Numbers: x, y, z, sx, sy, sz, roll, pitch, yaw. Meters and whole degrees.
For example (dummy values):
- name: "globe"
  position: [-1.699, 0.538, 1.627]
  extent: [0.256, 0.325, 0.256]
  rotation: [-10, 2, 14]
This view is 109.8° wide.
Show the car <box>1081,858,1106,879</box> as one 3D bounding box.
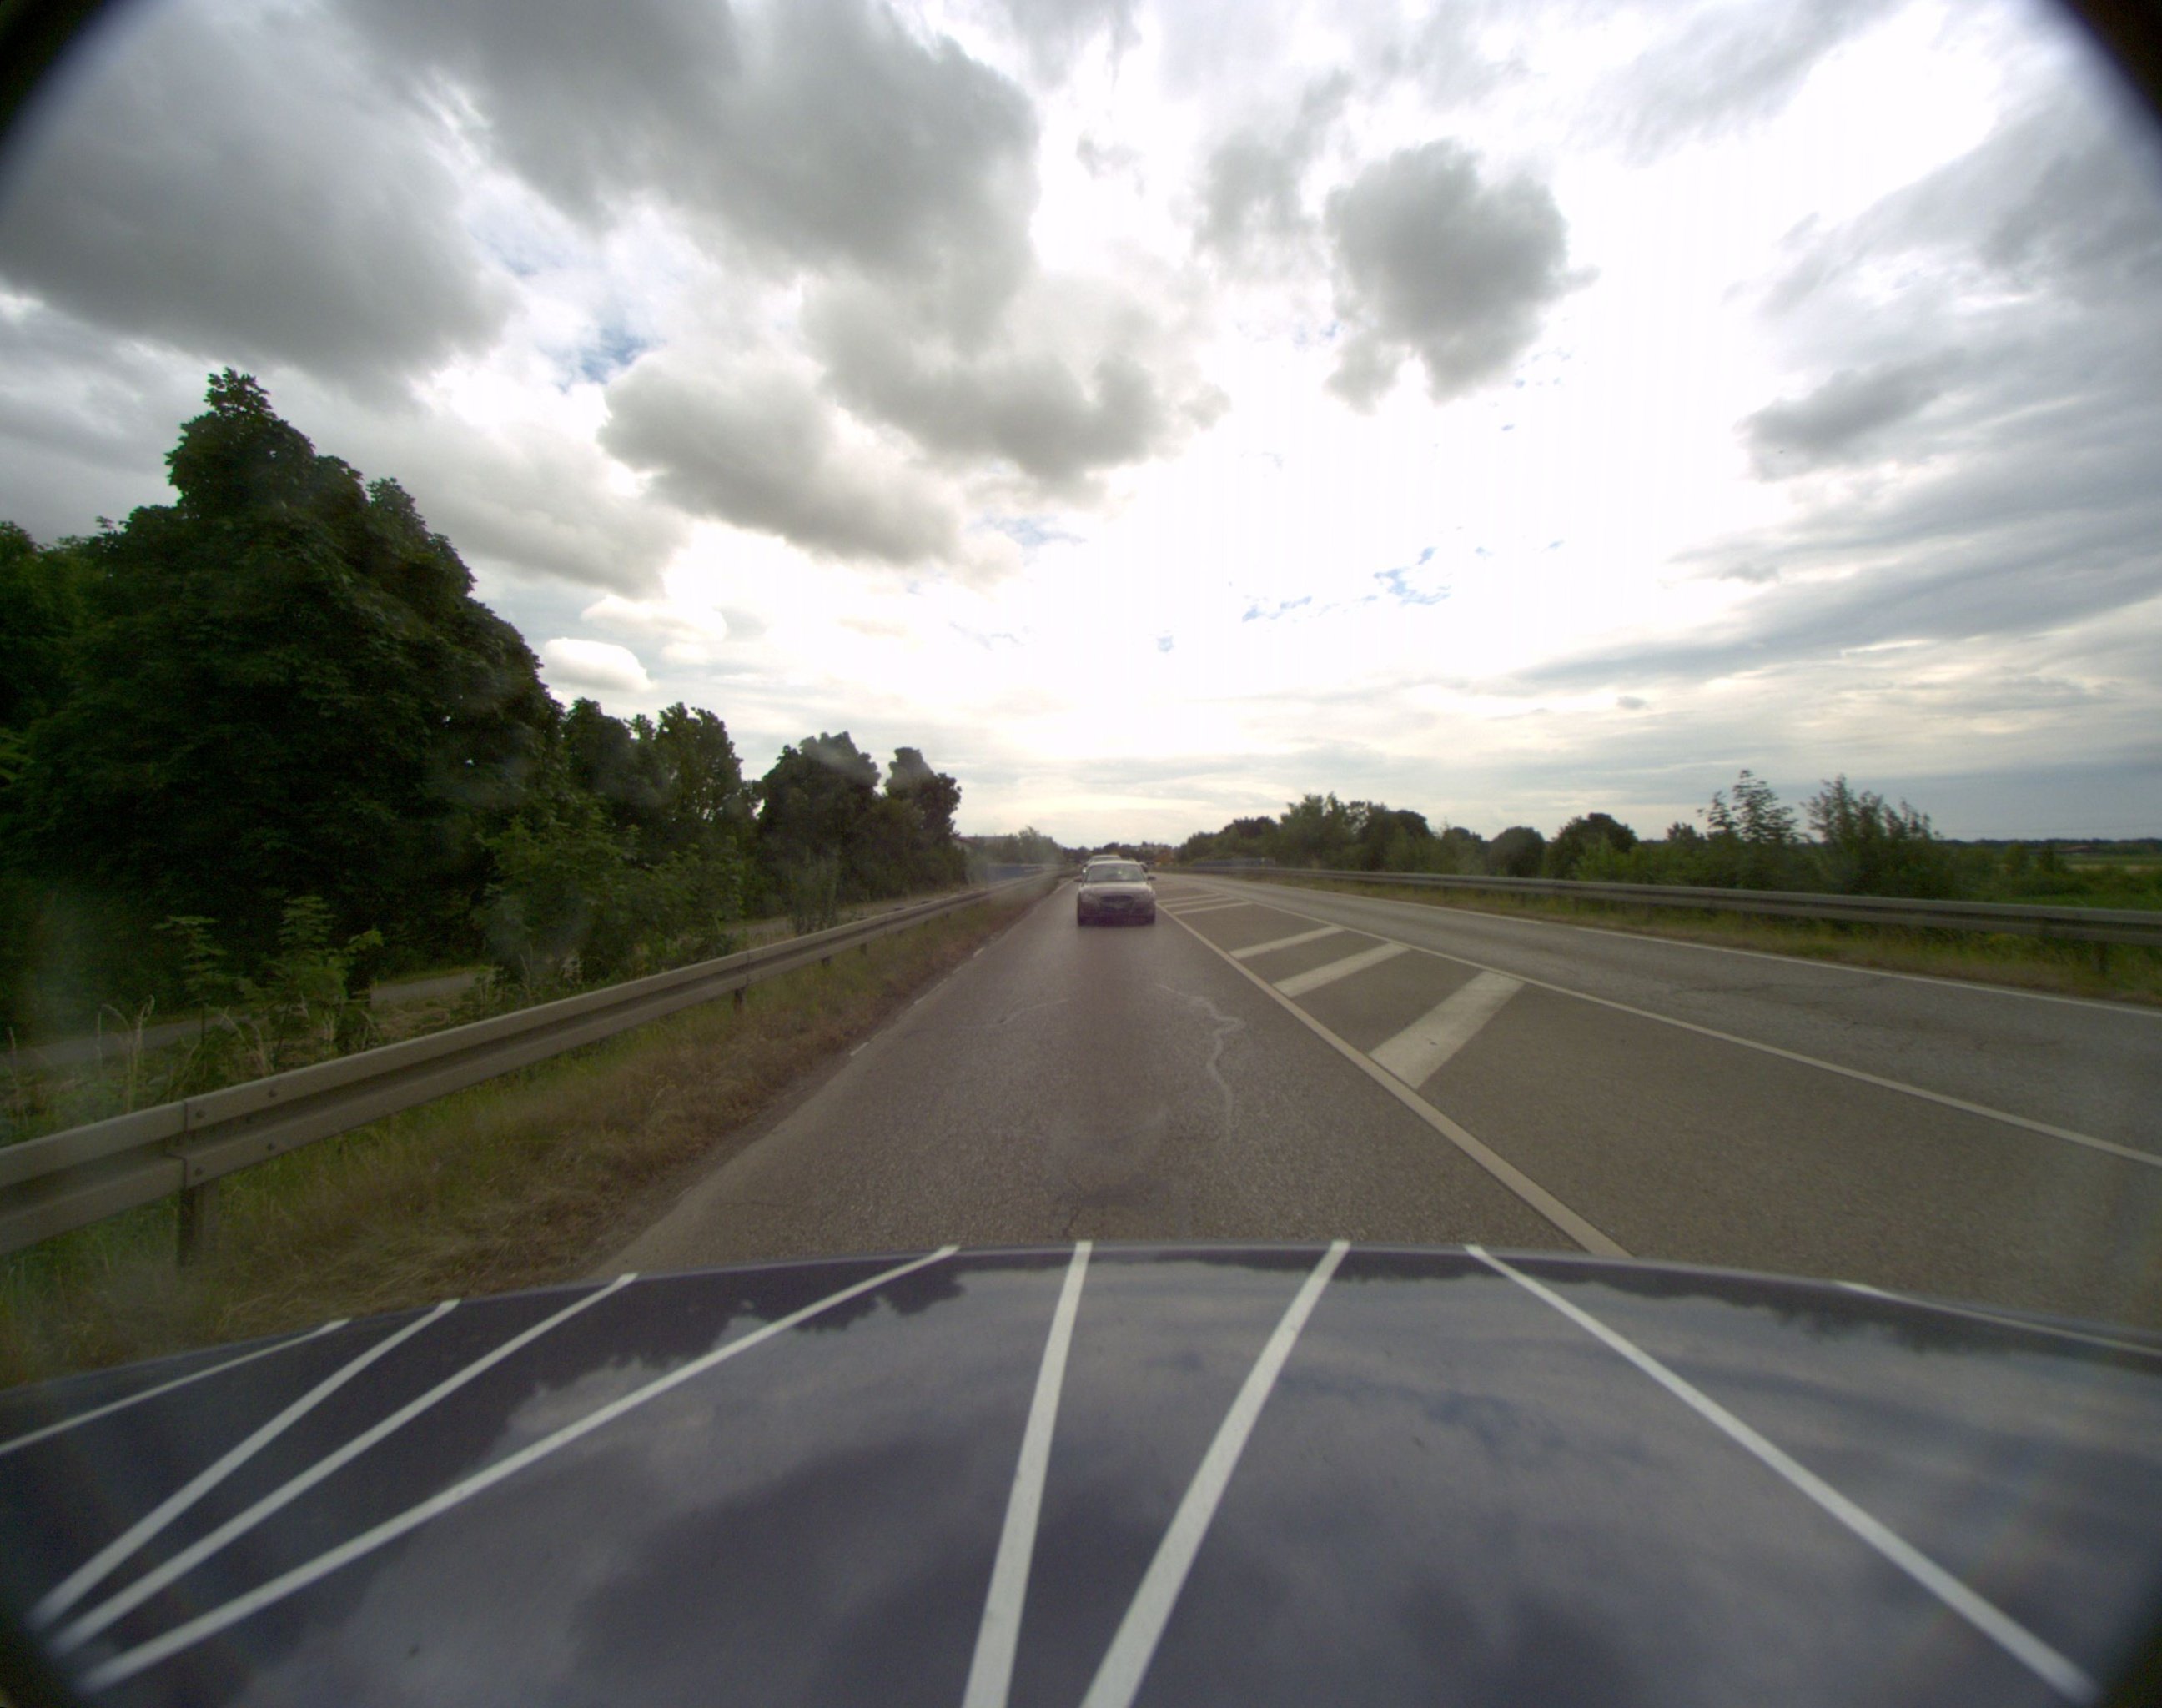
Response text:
- name: "car"
  position: [0.871, 1.014, 53.290]
  extent: [1.670, 1.339, 4.000]
  rotation: [-2, 0, 1]

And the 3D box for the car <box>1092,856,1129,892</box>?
- name: "car"
  position: [1.358, 0.861, 35.176]
  extent: [1.602, 1.494, 3.962]
  rotation: [-2, 0, 2]

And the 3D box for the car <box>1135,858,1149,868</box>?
- name: "car"
  position: [8.707, 1.270, 108.331]
  extent: [1.626, 1.371, 4.512]
  rotation: [-1, 0, 1]

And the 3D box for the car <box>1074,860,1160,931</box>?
- name: "car"
  position: [0.790, 0.890, 18.002]
  extent: [1.768, 1.383, 3.876]
  rotation: [-2, 1, 1]
